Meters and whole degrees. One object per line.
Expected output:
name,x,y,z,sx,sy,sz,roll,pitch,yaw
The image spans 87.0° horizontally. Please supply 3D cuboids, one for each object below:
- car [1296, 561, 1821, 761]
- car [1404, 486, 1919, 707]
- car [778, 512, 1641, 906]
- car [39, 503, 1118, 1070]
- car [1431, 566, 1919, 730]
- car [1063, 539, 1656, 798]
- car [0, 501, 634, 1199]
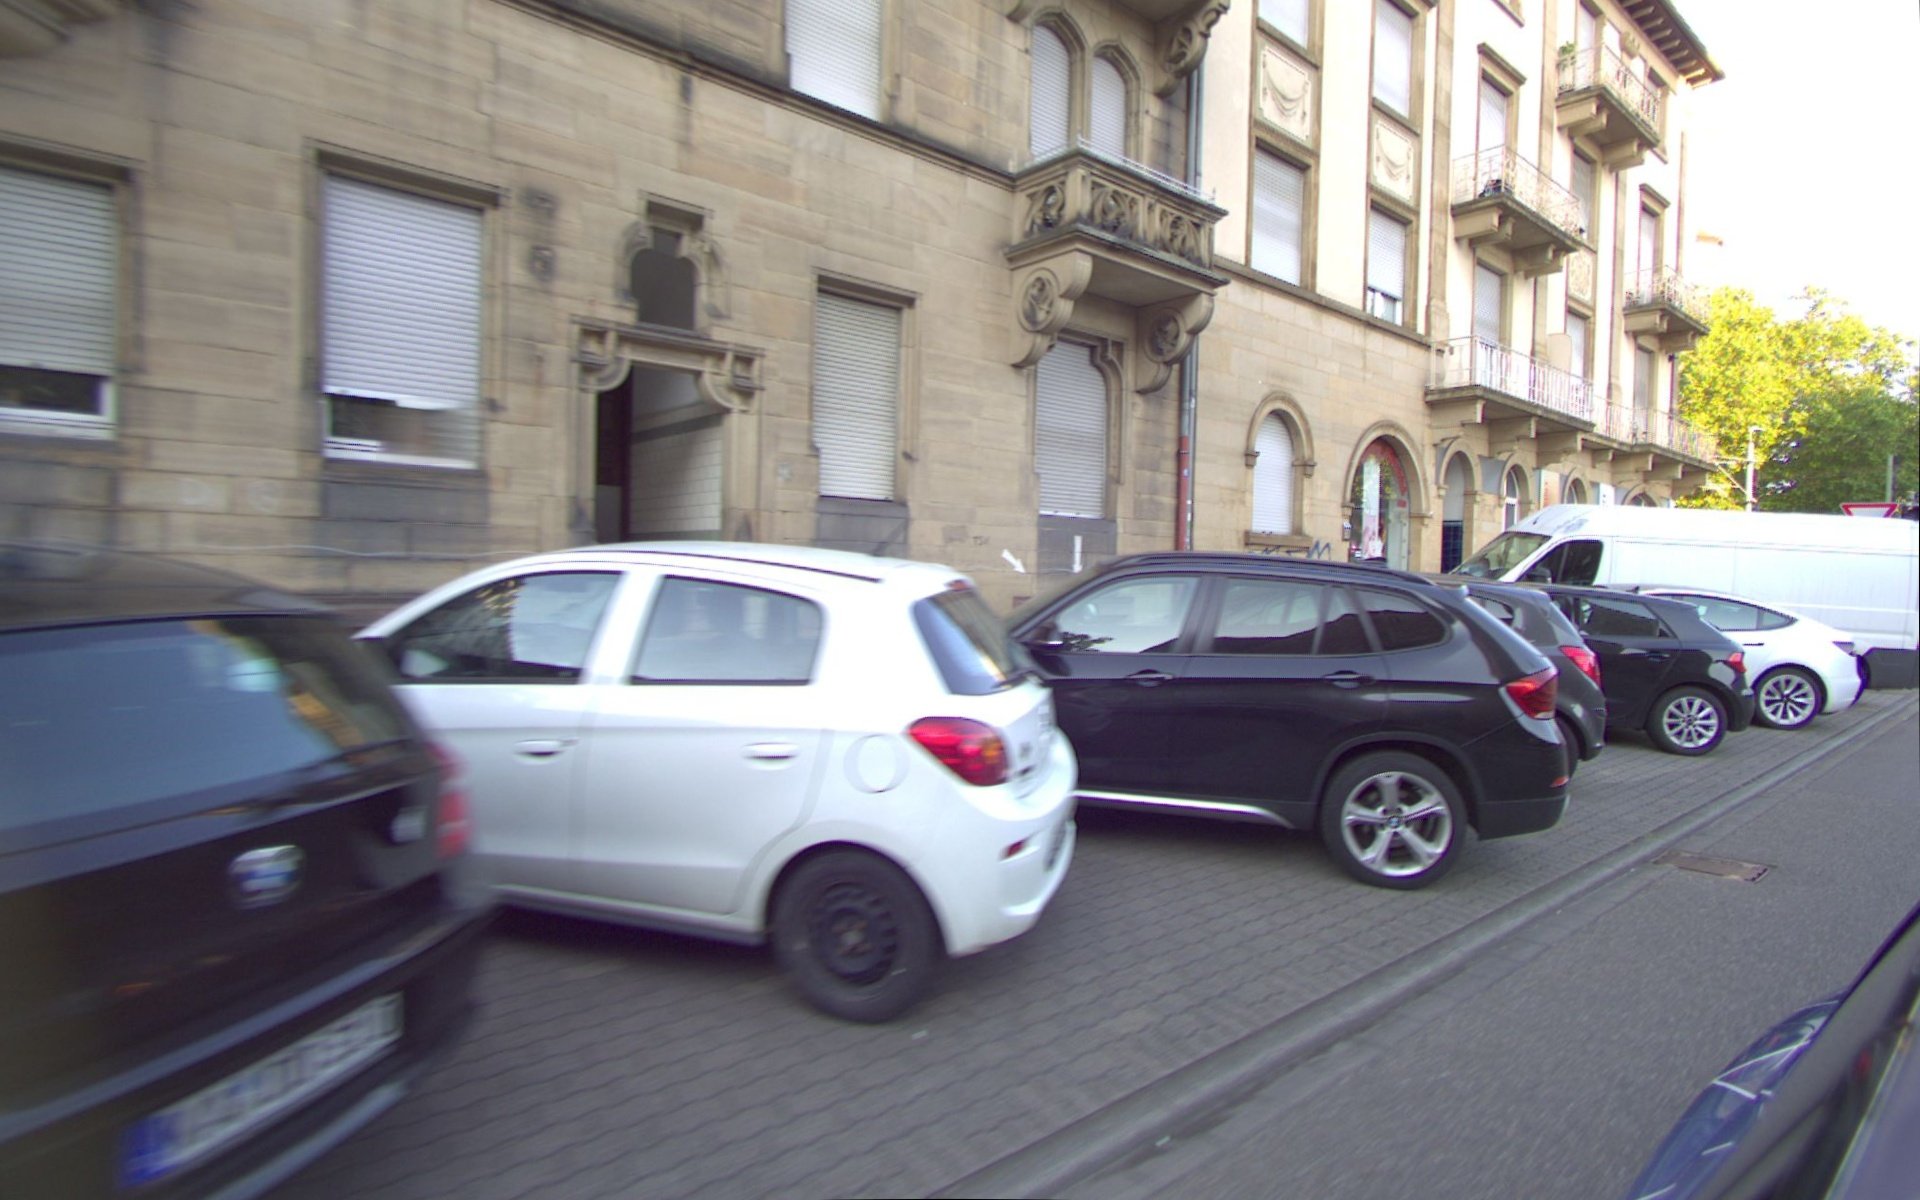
car,5.454,0.469,9.802,3.854,1.463,1.871,3,4,10
car,9.544,-0.157,13.904,5.789,2.581,2.192,2,4,9
car,1.202,0.410,5.859,4.036,1.626,1.811,3,3,12
car,-1.459,0.453,4.282,4.000,1.516,1.747,3,3,15
car,7.965,0.446,11.618,4.189,1.470,1.994,3,3,12
car,2.807,0.395,7.909,3.852,1.563,1.714,3,4,9
car,-3.061,0.469,2.425,3.979,1.449,1.860,4,4,16
